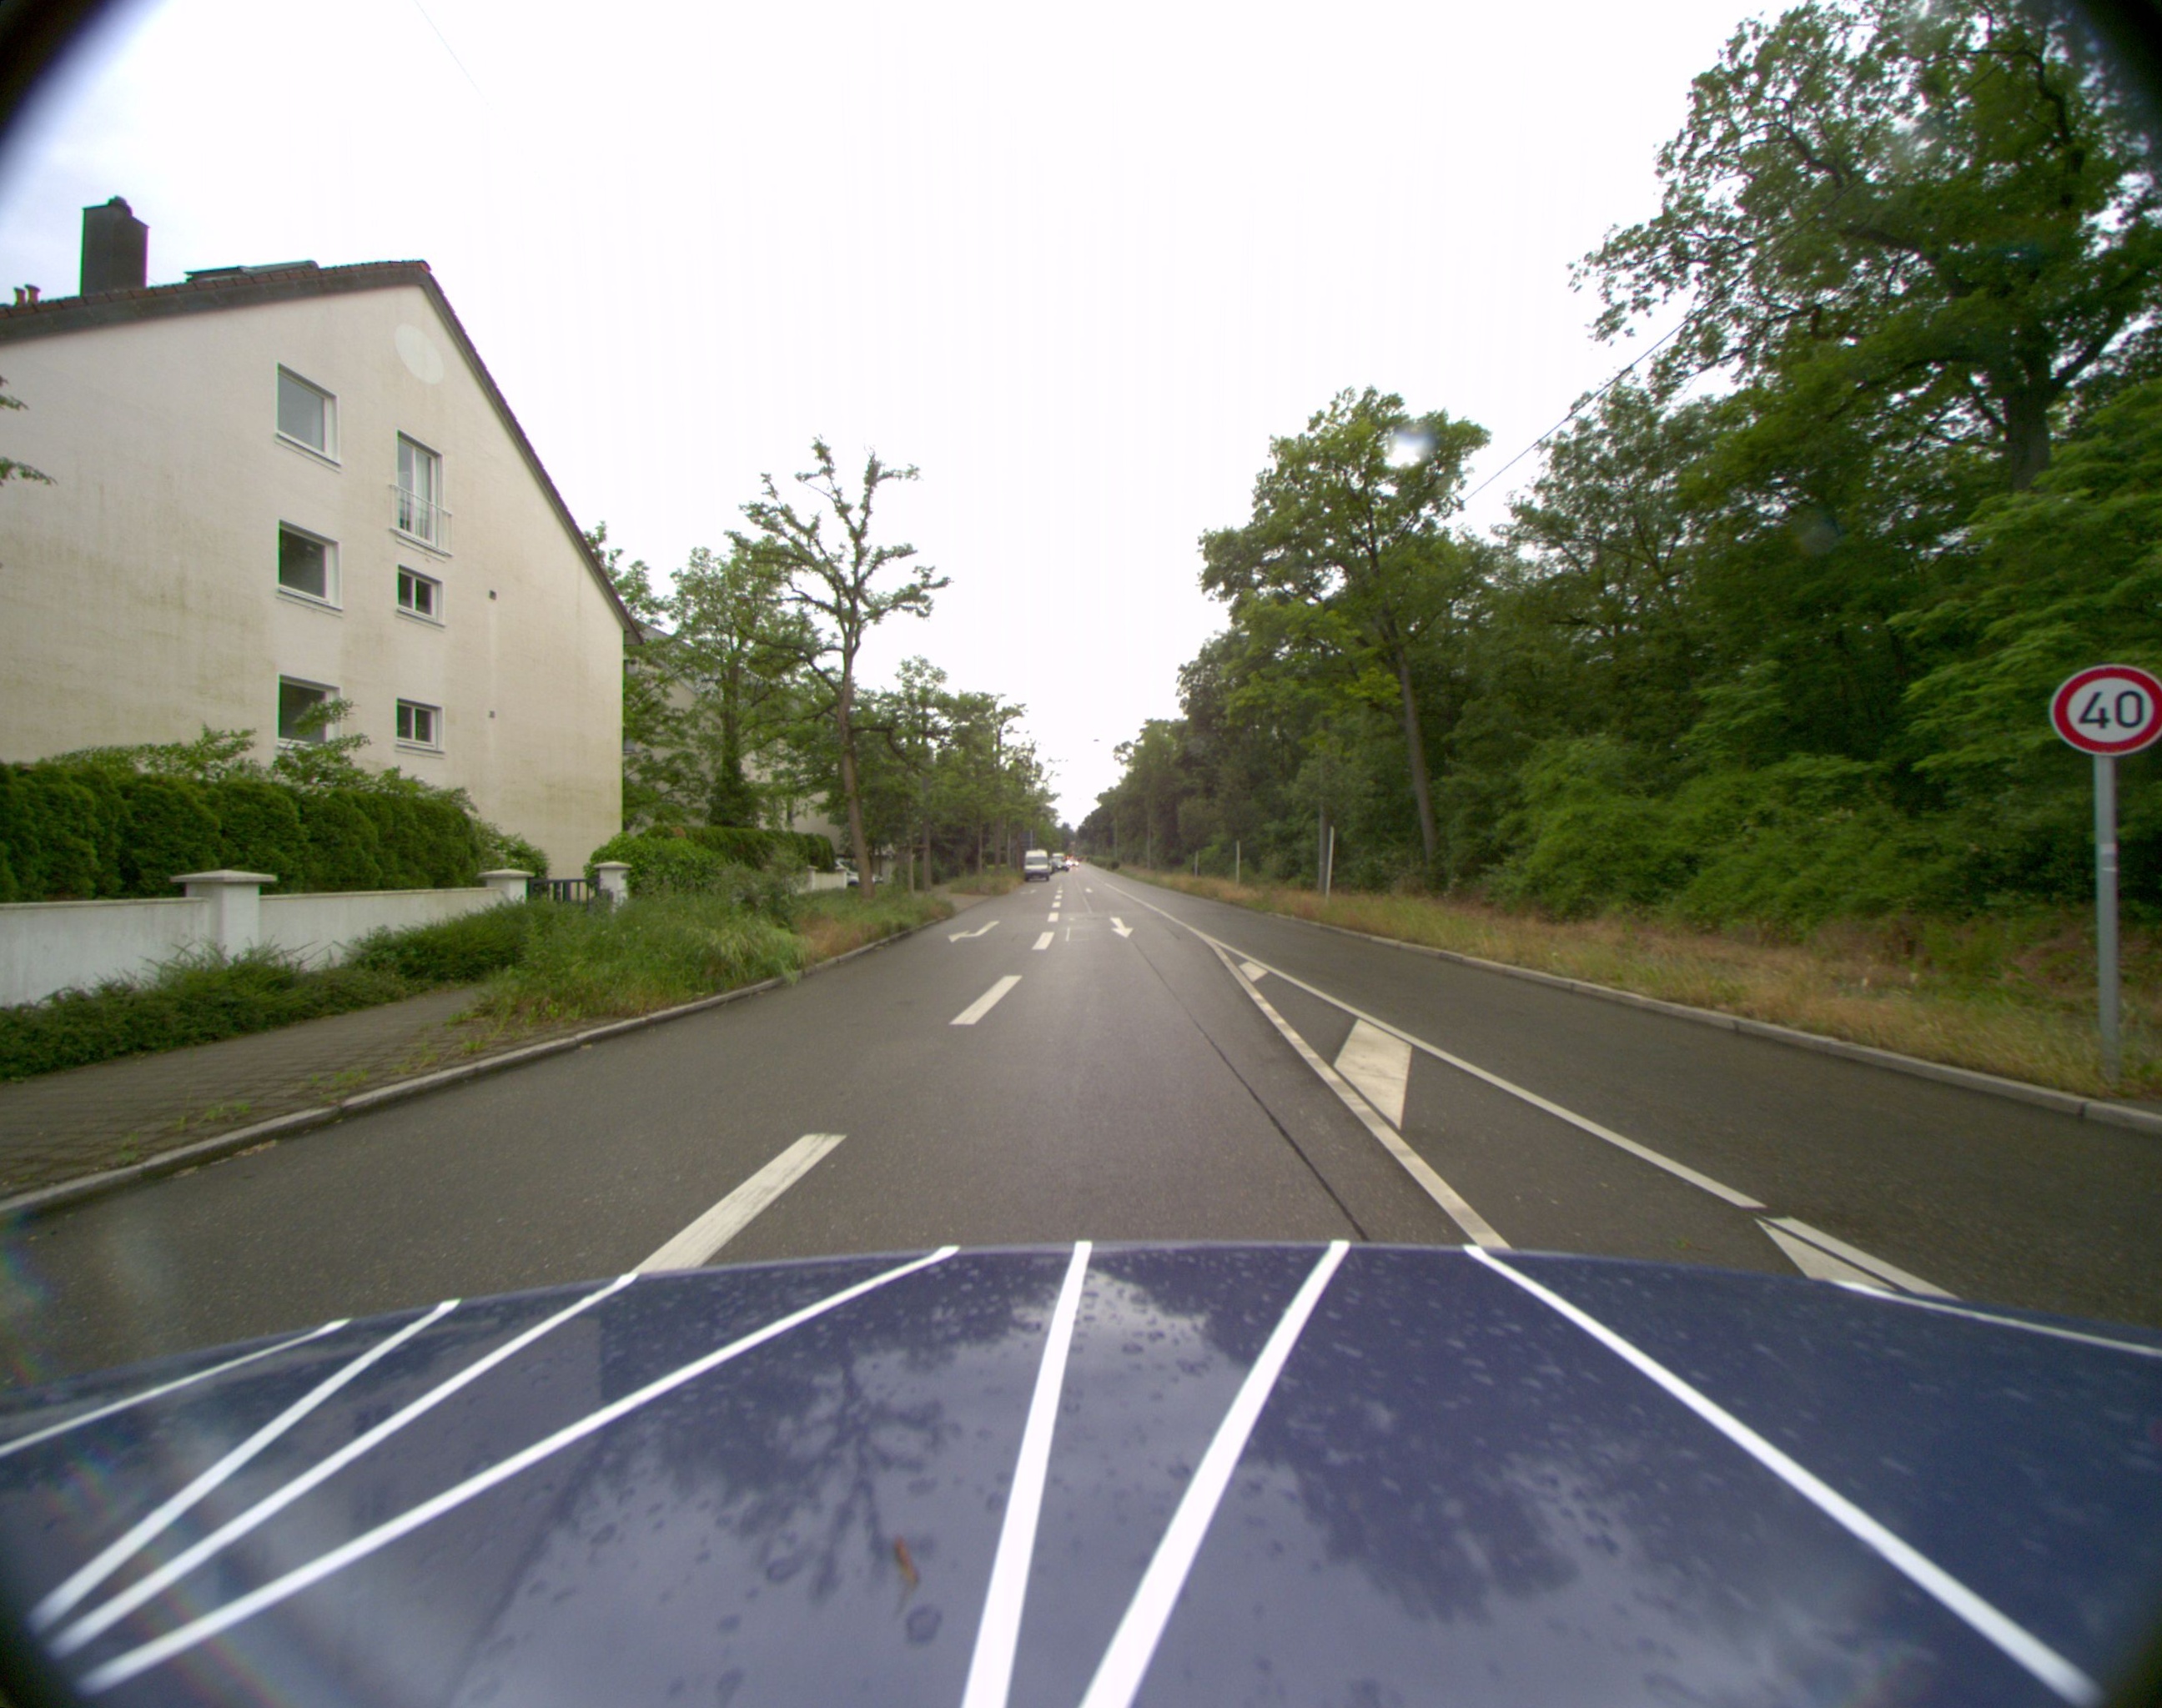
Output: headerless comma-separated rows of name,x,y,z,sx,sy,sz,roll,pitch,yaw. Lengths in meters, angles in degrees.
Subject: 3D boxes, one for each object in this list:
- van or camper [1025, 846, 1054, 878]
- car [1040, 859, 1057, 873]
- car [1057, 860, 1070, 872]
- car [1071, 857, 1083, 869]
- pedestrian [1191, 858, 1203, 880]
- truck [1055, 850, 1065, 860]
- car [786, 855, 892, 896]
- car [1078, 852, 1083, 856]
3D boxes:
van or camper,-3.407,0.617,63.401,2.042,2.465,5.637,-3,0,-1
car,-3.450,1.267,81.064,1.576,1.463,3.764,-2,0,-1
car,-2.317,1.556,98.725,1.622,1.459,4.409,-2,0,-2
car,-0.652,1.547,135.738,1.998,2.002,3.999,-1,1,1
pedestrian,8.714,1.108,56.982,0.783,1.598,0.732,0,0,-2
truck,-4.797,0.194,174.113,2.230,2.321,5.112,1,0,-2
car,-11.281,0.995,35.586,4.312,1.807,1.876,-1,0,10
car,-0.137,-0.002,256.105,1.681,1.608,4.061,1,0,-2
